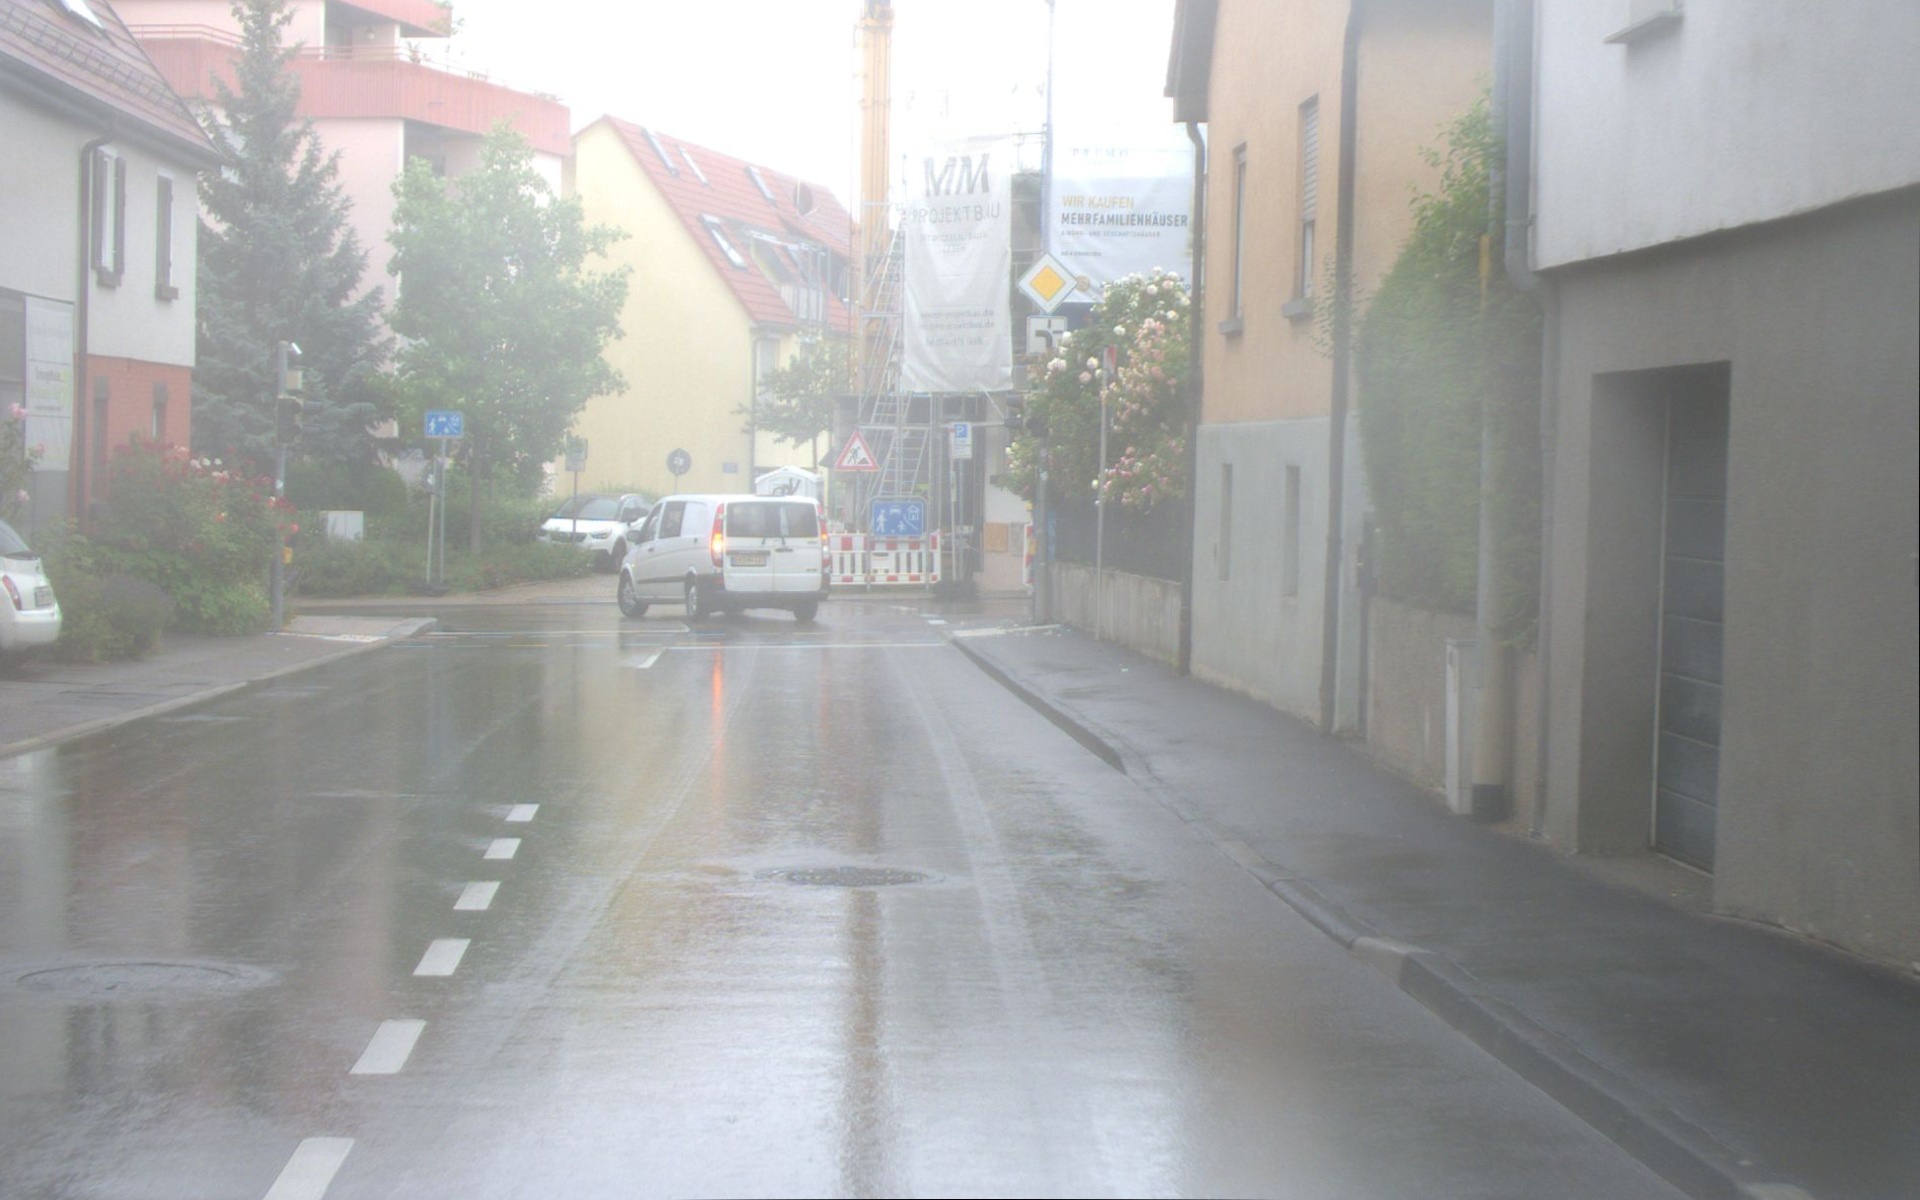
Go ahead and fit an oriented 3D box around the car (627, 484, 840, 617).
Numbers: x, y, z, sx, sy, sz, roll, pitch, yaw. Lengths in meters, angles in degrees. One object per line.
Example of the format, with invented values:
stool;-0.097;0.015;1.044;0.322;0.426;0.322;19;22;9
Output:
car;-3.392;-0.730;50.780;2.181;1.863;4.001;0;1;-18

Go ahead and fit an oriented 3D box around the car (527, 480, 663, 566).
car;-7.596;-1.630;71.850;1.601;1.672;3.936;2;3;13

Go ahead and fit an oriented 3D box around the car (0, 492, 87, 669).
car;-9.829;-0.269;30.801;3.544;1.524;1.663;3;1;-1
